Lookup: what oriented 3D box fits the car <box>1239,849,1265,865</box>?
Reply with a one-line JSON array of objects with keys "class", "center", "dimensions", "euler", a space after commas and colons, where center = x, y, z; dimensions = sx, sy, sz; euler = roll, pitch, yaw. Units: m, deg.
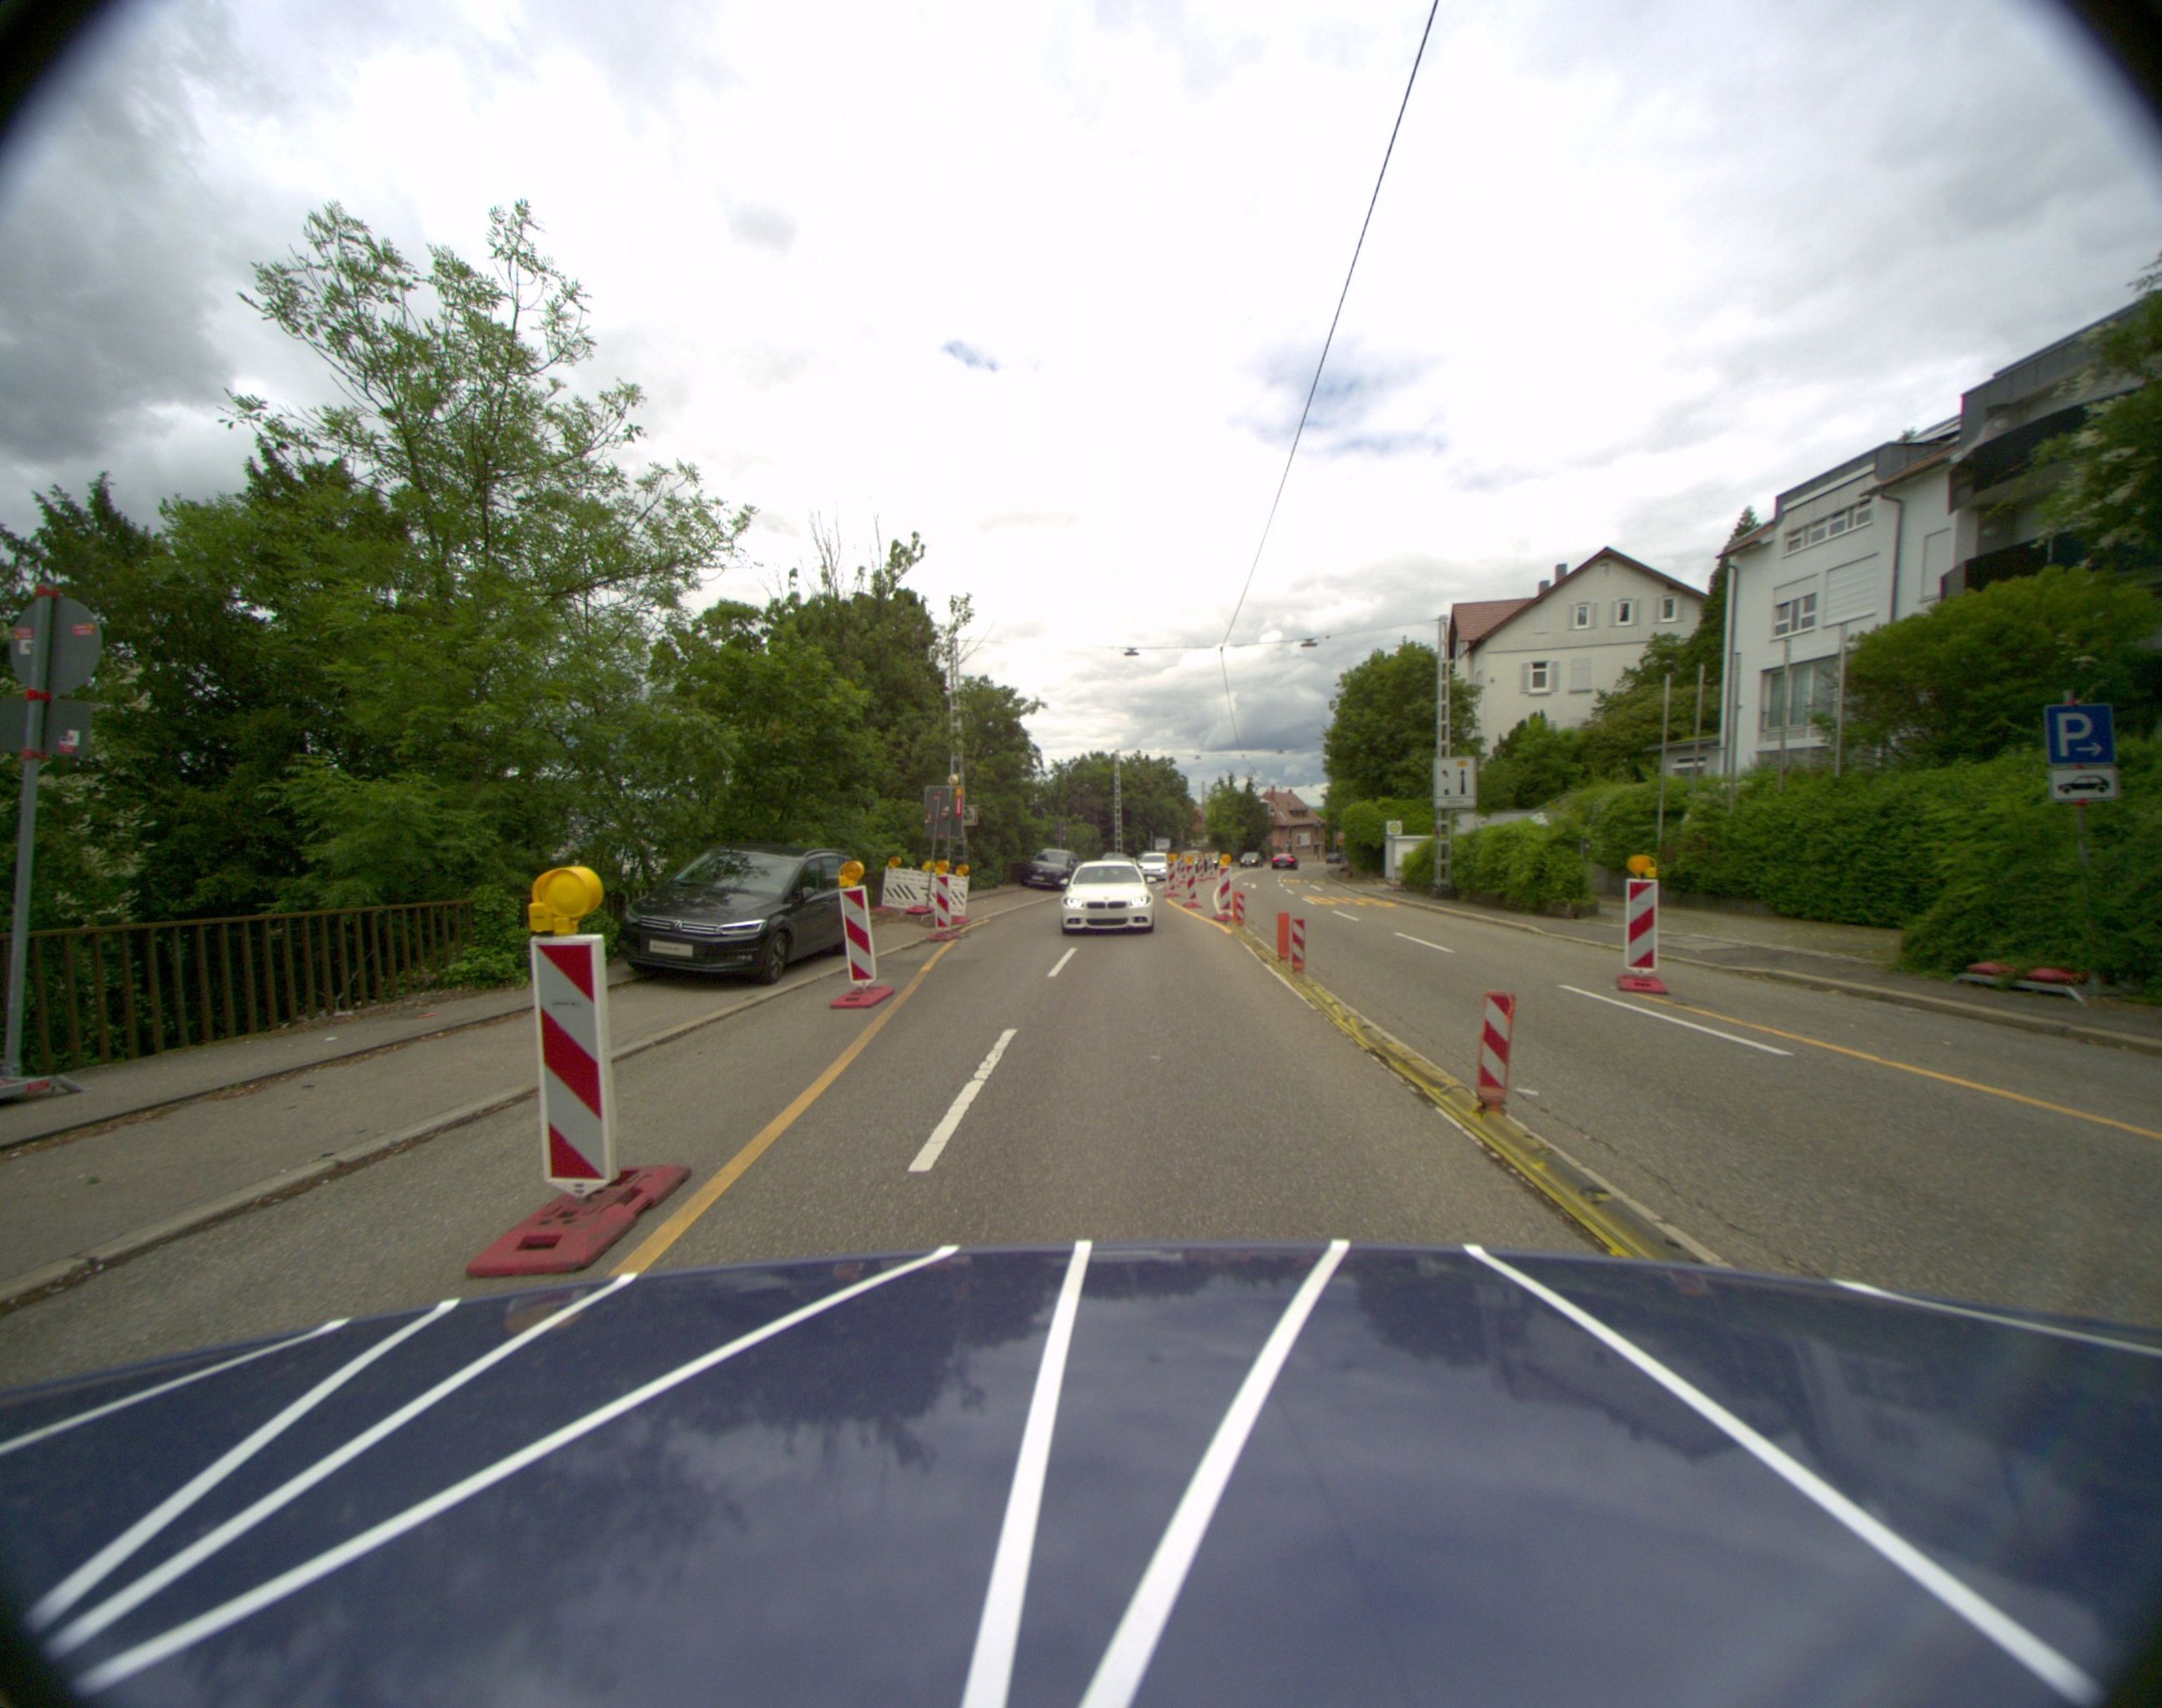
[{"class": "car", "center": [16.573, 0.312, 73.569], "dimensions": [1.789, 1.472, 4.251], "euler": [-1, 0, 22]}]

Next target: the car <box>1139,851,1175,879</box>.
[{"class": "car", "center": [4.453, 0.614, 43.942], "dimensions": [1.791, 1.542, 4.248], "euler": [-1, 0, 9]}]

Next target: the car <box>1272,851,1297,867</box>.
[{"class": "car", "center": [18.111, 0.419, 67.466], "dimensions": [1.823, 1.383, 4.444], "euler": [2, 1, 19]}]

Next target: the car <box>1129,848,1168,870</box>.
[{"class": "car", "center": [5.155, 0.345, 57.392], "dimensions": [1.855, 1.525, 4.238], "euler": [3, 2, 20]}]

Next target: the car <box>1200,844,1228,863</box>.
[{"class": "car", "center": [11.685, -0.073, 66.676], "dimensions": [1.796, 1.502, 4.005], "euler": [-1, 1, 18]}]

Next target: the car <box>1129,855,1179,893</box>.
[{"class": "car", "center": [3.225, 0.813, 32.846], "dimensions": [1.790, 1.472, 4.248], "euler": [-1, 0, 10]}]

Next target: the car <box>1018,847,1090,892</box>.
[{"class": "car", "center": [-1.073, 0.600, 32.609], "dimensions": [1.856, 1.664, 4.283], "euler": [5, 2, 14]}]

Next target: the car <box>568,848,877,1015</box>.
[{"class": "car", "center": [-4.490, 0.819, 10.500], "dimensions": [1.866, 1.664, 4.646], "euler": [4, 1, 2]}]

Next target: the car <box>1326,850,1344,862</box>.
[{"class": "car", "center": [34.248, 0.248, 102.381], "dimensions": [1.715, 1.453, 4.007], "euler": [2, 1, 25]}]

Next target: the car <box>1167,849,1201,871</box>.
[{"class": "car", "center": [7.657, 0.400, 56.188], "dimensions": [1.796, 1.501, 4.005], "euler": [1, 1, 18]}]

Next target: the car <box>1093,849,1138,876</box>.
[{"class": "car", "center": [2.203, 0.461, 47.057], "dimensions": [1.856, 1.428, 4.236], "euler": [5, 2, 14]}]

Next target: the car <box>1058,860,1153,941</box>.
[{"class": "car", "center": [0.641, 0.915, 16.629], "dimensions": [1.791, 1.472, 4.246], "euler": [-1, 0, 5]}]

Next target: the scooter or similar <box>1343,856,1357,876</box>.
[{"class": "scooter or similar", "center": [16.259, 0.721, 45.922], "dimensions": [0.429, 1.202, 1.282], "euler": [-3, 1, 5]}]
